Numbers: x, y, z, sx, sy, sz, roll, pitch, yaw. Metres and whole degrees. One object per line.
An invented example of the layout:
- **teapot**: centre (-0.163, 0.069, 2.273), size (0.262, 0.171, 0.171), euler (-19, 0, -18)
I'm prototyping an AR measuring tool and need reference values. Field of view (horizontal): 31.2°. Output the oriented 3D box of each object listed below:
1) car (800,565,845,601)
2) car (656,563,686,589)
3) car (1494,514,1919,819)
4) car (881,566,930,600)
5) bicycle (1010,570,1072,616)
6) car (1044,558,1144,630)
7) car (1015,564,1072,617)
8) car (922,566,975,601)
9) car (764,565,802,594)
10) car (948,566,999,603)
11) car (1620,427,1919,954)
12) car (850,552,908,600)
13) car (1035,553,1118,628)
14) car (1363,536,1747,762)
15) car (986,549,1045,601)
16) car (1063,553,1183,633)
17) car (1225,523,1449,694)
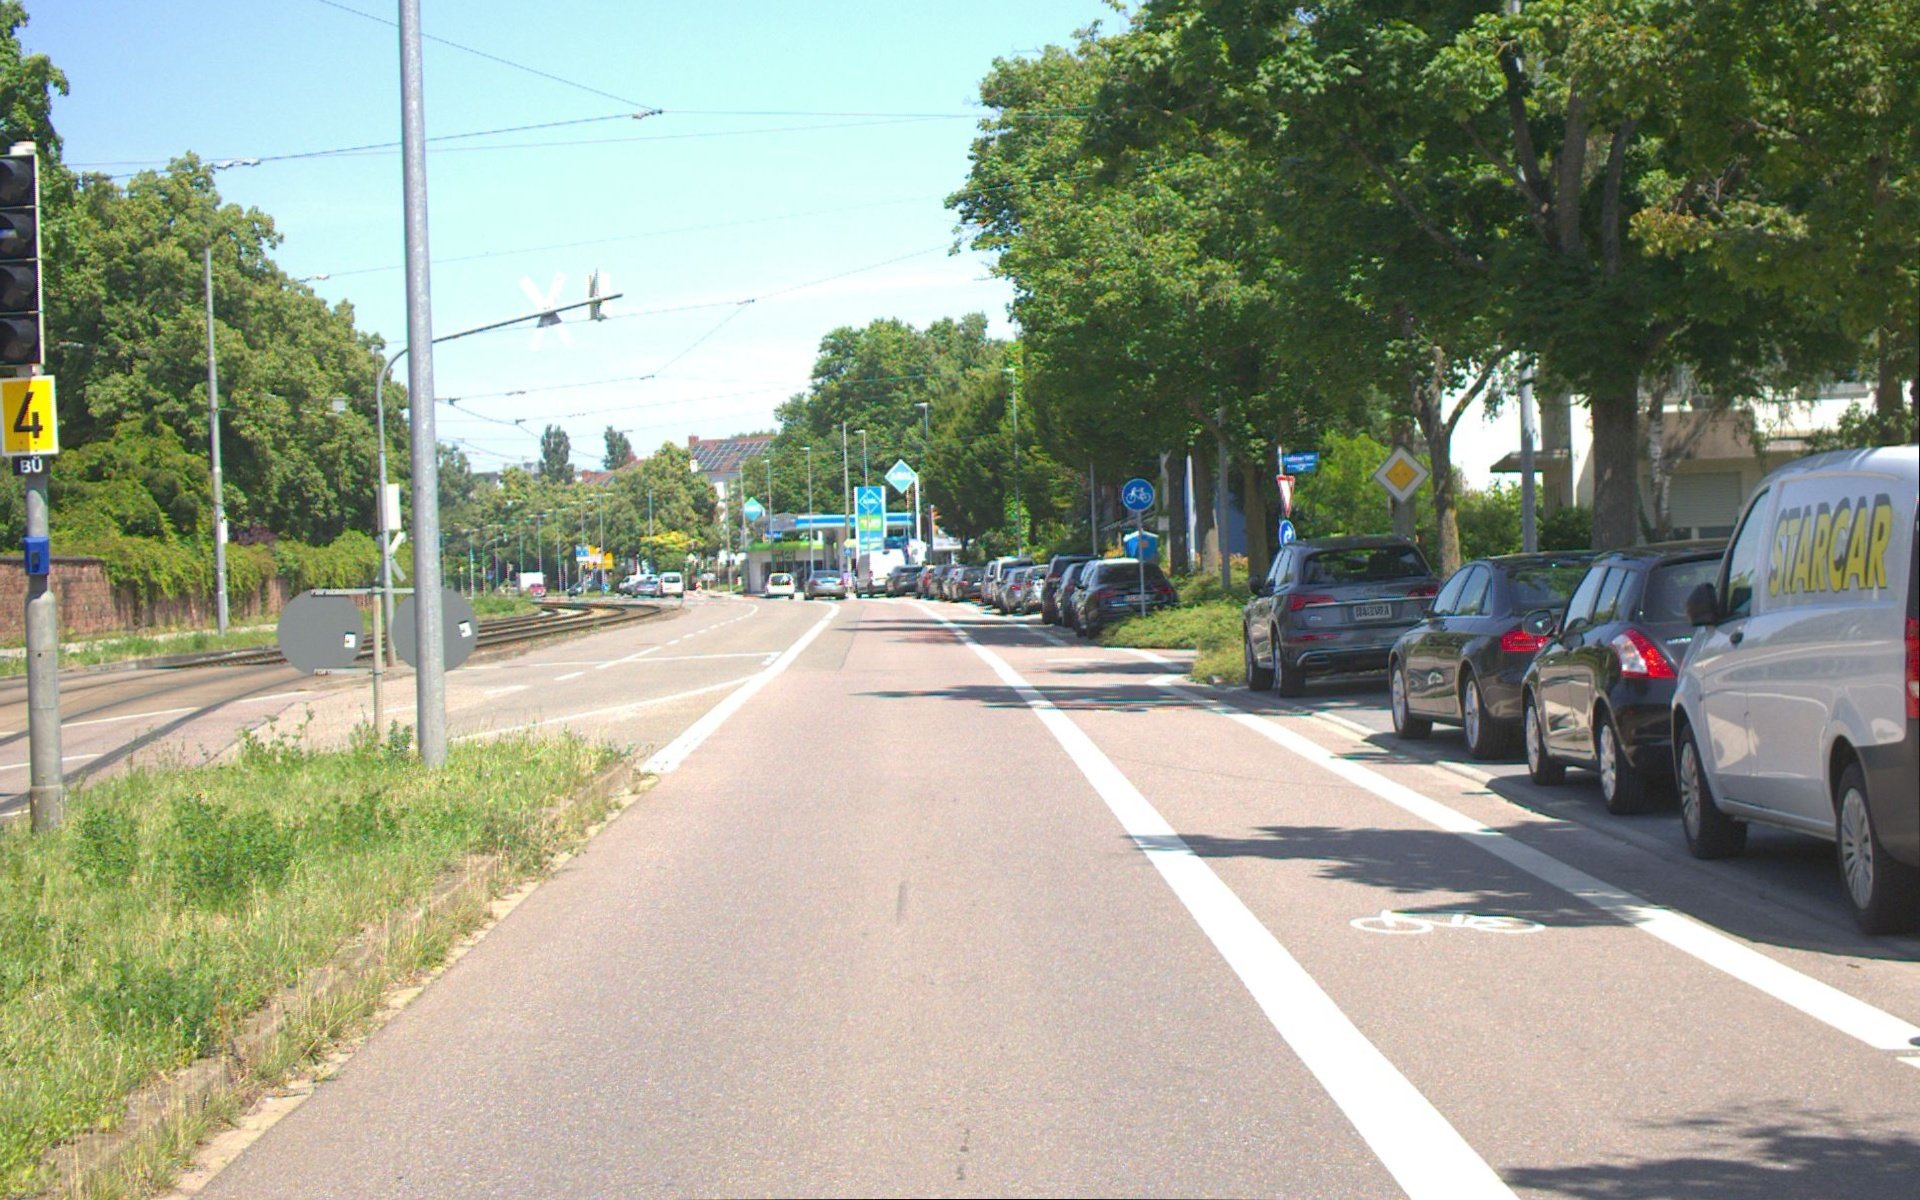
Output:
- **car**: centre (-6.652, -0.832, 166.420), size (1.755, 1.625, 4.325), euler (-4, 1, -6)
- **car**: centre (-21.685, -1.800, 257.889), size (1.755, 1.868, 4.325), euler (-4, 1, -10)
- **car**: centre (4.370, 0.330, 20.516), size (1.712, 1.535, 3.840), euler (-4, 1, 1)
- **car**: centre (-2.846, -0.883, 178.580), size (1.755, 1.625, 4.325), euler (-4, 1, -10)
- **bicycle**: centre (2.516, -0.223, 106.514), size (1.774, 1.224, 0.683), euler (-6, 0, 3)
- **car**: centre (3.127, -0.157, 80.931), size (1.840, 1.524, 4.354), euler (-4, 1, -4)
- **car**: centre (2.623, -0.309, 108.554), size (1.519, 1.524, 3.817), euler (-4, 1, -1)
- **car**: centre (-0.559, -0.779, 162.721), size (1.706, 1.557, 4.325), euler (-4, 1, -10)
- **car**: centre (-10.697, -1.222, 207.730), size (1.755, 1.625, 4.325), euler (-4, 1, -9)
- **car**: centre (0.576, -0.702, 151.556), size (1.706, 1.487, 5.039), euler (-4, 1, -5)
- **car**: centre (4.380, 0.219, 14.800), size (1.997, 1.872, 5.276), euler (-4, 1, 1)
- **car**: centre (-4.467, -1.285, 188.672), size (2.000, 2.448, 6.111), euler (-4, 1, -11)
- **car**: centre (2.908, -0.259, 86.635), size (1.840, 1.700, 4.626), euler (-4, 1, 0)
- **car**: centre (4.284, 0.303, 25.506), size (1.712, 1.413, 4.709), euler (-4, 1, -3)
- **car**: centre (2.049, -0.955, 128.531), size (1.840, 1.788, 4.354), euler (-4, 1, -3)
- **car**: centre (3.227, -0.156, 69.033), size (1.840, 1.431, 4.825), euler (-4, 1, -3)
- **car**: centre (4.024, 0.088, 37.403), size (1.712, 1.627, 4.708), euler (-4, 0, -1)
